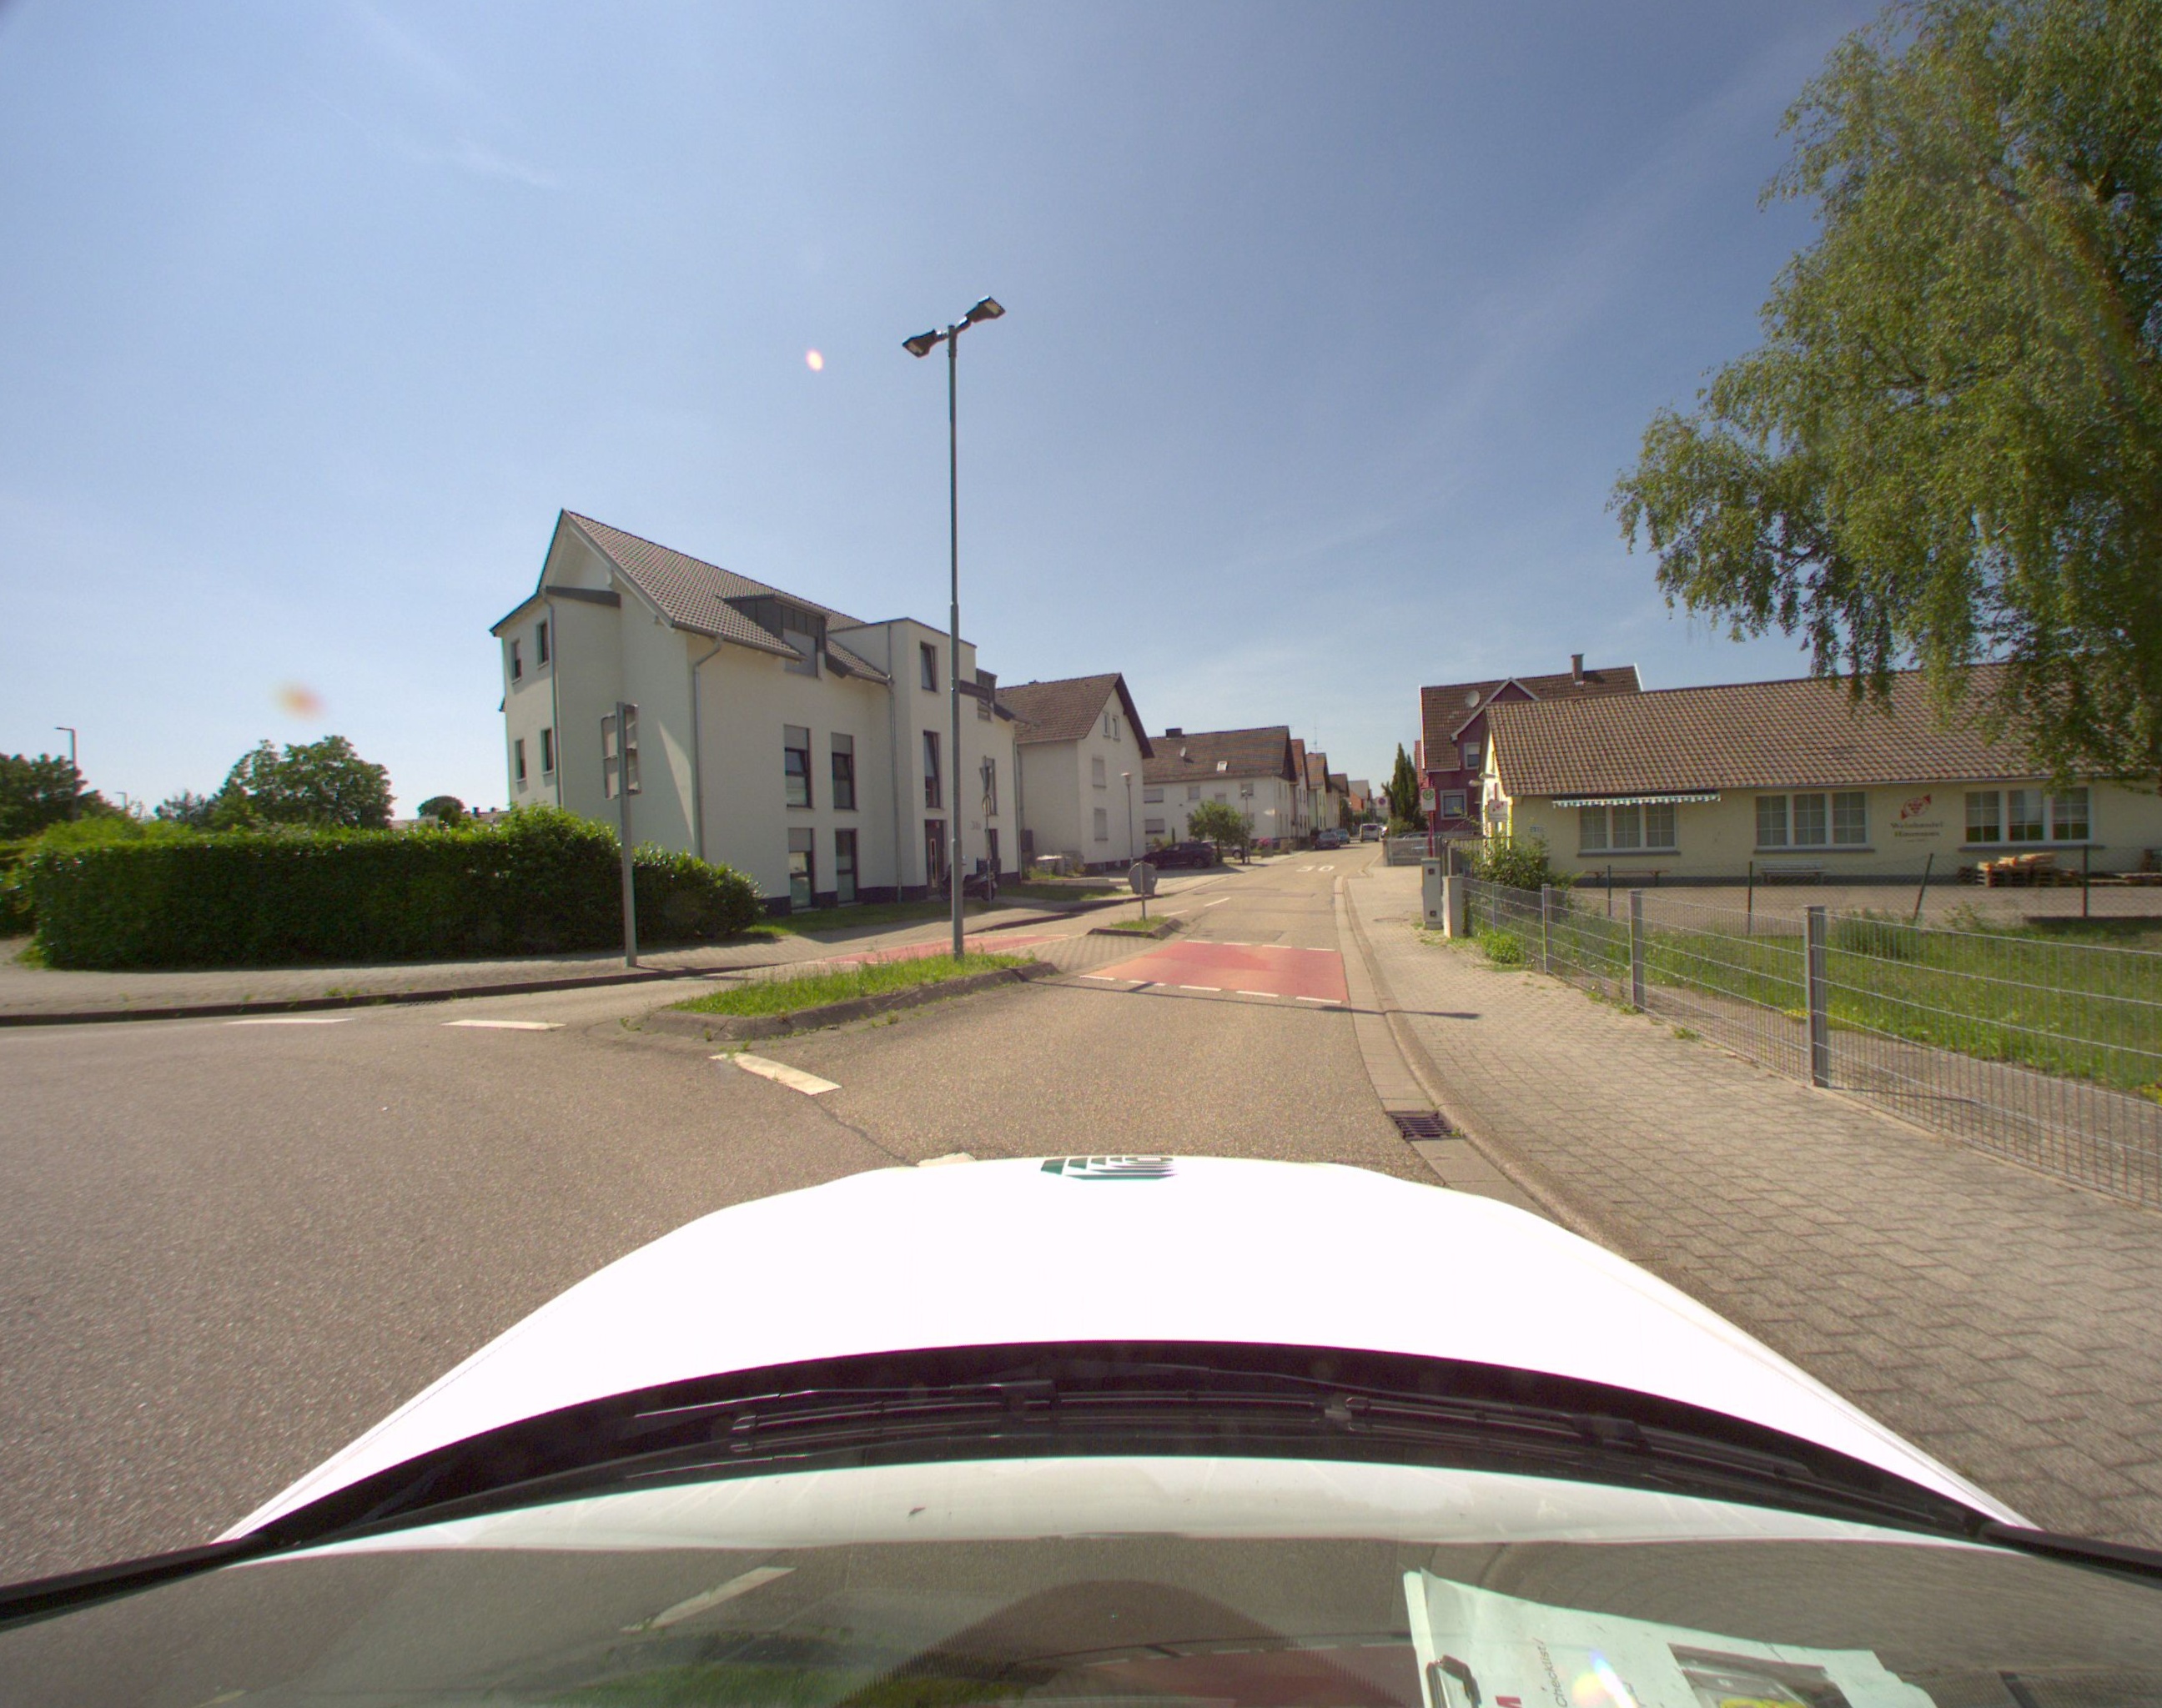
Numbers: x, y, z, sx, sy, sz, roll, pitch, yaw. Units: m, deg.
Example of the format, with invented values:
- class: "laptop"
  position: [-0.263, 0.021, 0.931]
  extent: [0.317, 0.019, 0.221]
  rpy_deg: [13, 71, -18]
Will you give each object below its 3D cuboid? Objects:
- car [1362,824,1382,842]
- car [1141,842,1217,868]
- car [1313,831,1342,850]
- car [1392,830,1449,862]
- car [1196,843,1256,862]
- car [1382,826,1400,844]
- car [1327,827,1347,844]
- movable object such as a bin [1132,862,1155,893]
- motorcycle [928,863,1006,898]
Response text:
- class: "car"
  position: [31.532, -2.270, 88.263]
  extent: [1.835, 1.787, 4.021]
  rpy_deg: [-2, -1, 22]
- class: "car"
  position: [5.574, 0.055, 46.286]
  extent: [3.954, 1.383, 1.669]
  rpy_deg: [-2, 0, 19]
- class: "car"
  position: [21.812, -1.189, 71.998]
  extent: [1.976, 1.553, 4.022]
  rpy_deg: [-1, 1, 23]
- class: "car"
  position: [18.177, -0.427, 43.609]
  extent: [2.720, 1.598, 1.178]
  rpy_deg: [-2, -1, 22]
- class: "car"
  position: [10.385, -0.109, 58.428]
  extent: [3.954, 1.190, 1.850]
  rpy_deg: [-1, 1, 19]
- class: "car"
  position: [39.144, -2.371, 102.763]
  extent: [1.935, 2.072, 4.021]
  rpy_deg: [-2, -1, 22]
- class: "car"
  position: [26.882, -1.933, 85.762]
  extent: [1.909, 1.604, 4.018]
  rpy_deg: [-2, 0, 16]
- class: "movable object such as a bin"
  position: [2.218, 0.830, 28.808]
  extent: [0.639, 1.083, 0.462]
  rpy_deg: [-1, 1, 30]
- class: "motorcycle"
  position: [-3.466, 0.818, 24.764]
  extent: [2.339, 1.013, 0.675]
  rpy_deg: [-2, -1, 25]
